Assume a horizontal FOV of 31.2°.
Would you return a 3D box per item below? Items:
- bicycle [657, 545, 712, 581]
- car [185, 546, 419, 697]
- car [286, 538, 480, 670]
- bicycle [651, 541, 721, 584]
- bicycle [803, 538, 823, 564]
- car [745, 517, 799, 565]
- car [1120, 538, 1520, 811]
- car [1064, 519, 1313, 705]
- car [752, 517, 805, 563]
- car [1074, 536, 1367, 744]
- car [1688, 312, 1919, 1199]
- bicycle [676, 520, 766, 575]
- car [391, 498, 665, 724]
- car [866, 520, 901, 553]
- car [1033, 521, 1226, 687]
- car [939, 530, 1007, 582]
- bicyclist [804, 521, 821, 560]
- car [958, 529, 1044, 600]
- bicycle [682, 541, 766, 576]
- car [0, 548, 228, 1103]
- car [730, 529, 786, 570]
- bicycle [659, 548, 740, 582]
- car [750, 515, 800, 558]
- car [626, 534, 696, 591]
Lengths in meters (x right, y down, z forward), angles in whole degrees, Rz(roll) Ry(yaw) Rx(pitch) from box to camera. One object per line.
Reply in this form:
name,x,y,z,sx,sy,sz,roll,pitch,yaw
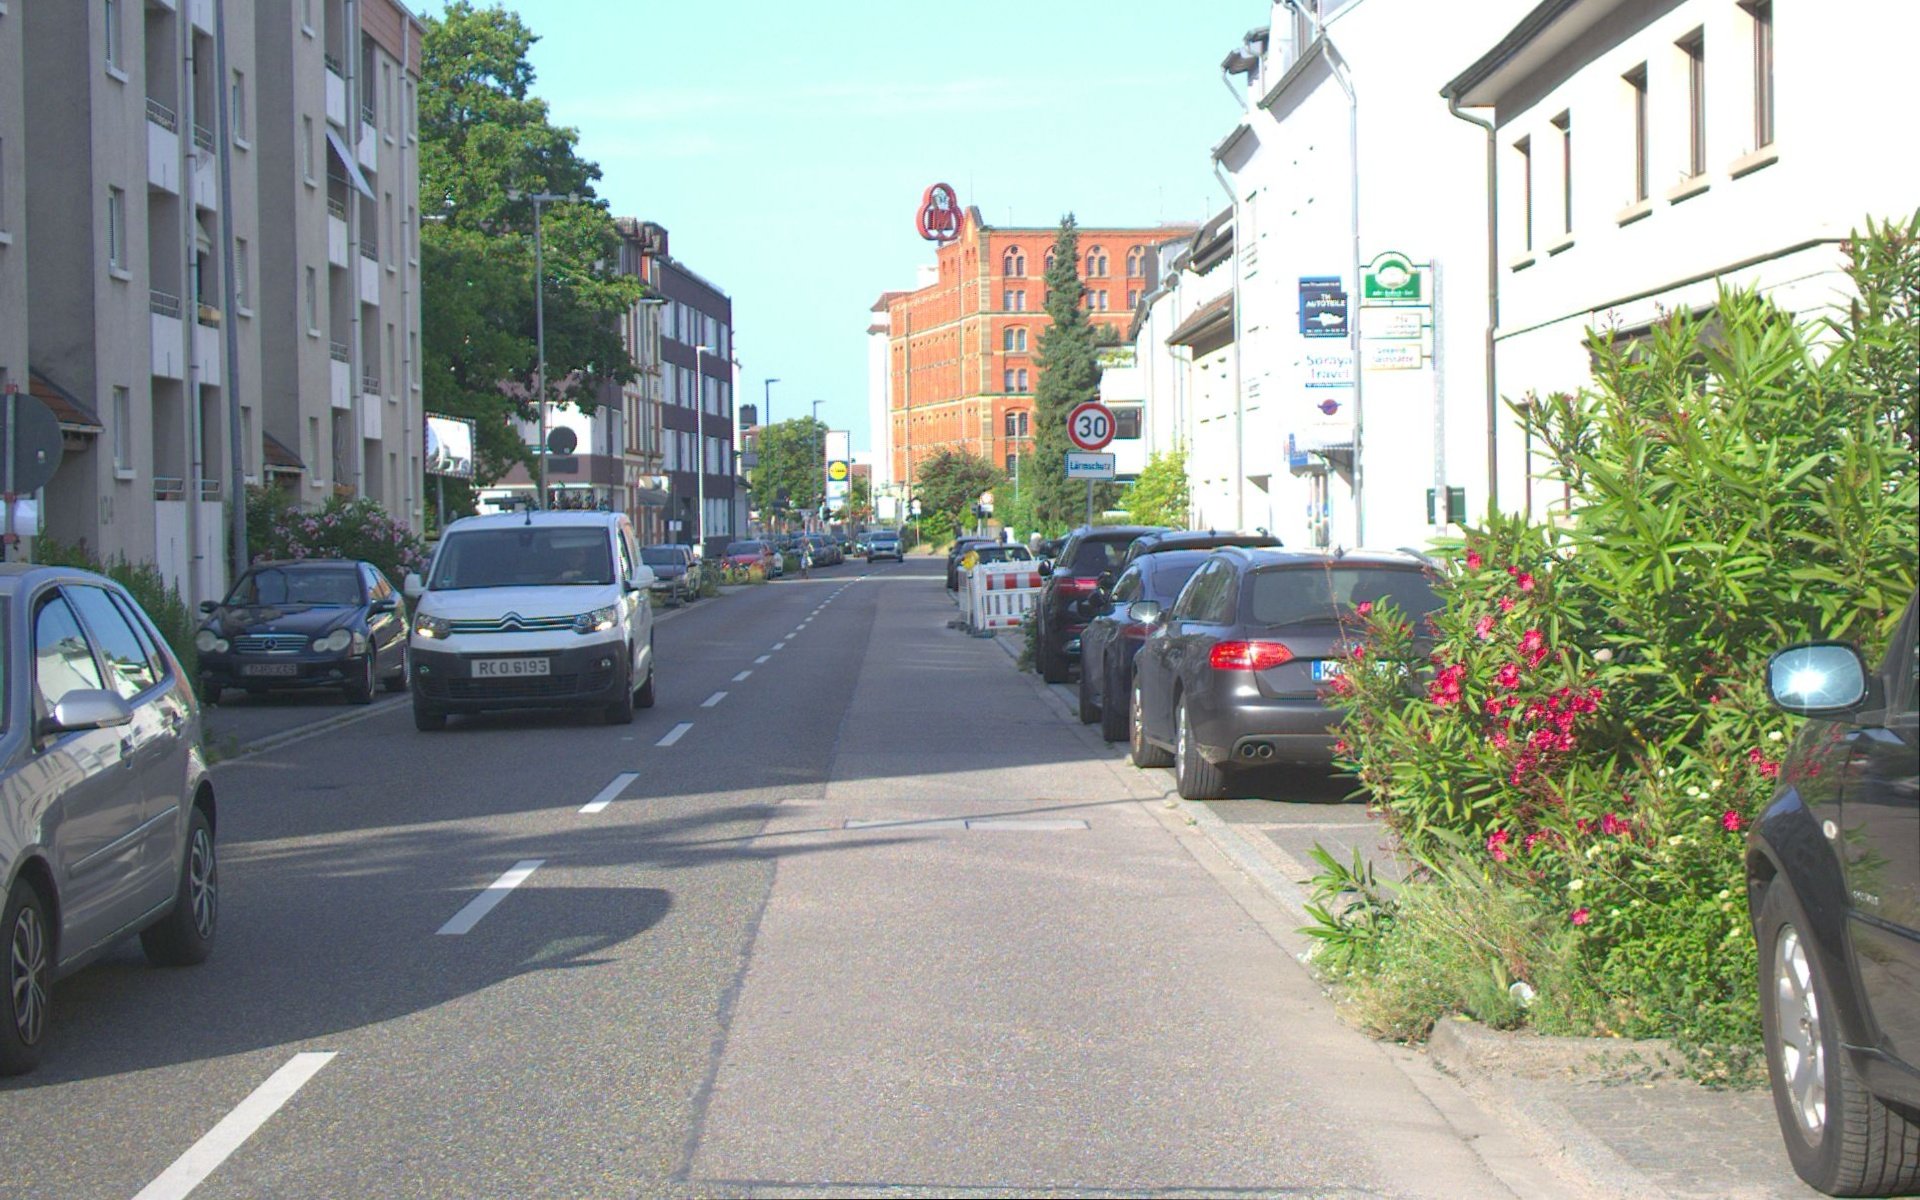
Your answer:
bicycle,-8.105,-1.098,101.233,1.584,1.037,0.708,-1,1,-6
car,-6.547,0.172,34.568,1.686,1.401,4.084,0,1,-2
car,-7.176,0.014,43.095,1.727,1.550,3.965,0,1,1
bicycle,-7.945,-1.080,99.675,2.000,1.213,0.708,-1,1,-6
bicycle,-5.493,-1.824,128.485,0.608,0.939,1.811,-1,1,1
car,-7.738,-2.439,142.075,1.993,1.905,3.689,-1,1,0
car,2.044,0.361,20.742,1.779,1.415,4.497,-1,1,-2
car,2.043,0.057,31.873,1.829,1.554,4.318,-1,1,-2
car,-7.711,-2.550,146.152,1.993,1.901,4.000,-1,1,0
car,1.915,0.241,26.566,1.830,1.415,4.609,-1,1,-1
car,2.789,0.374,6.041,2.075,1.849,4.610,-2,2,1
bicycle,-8.096,-1.784,116.470,2.918,1.771,1.202,-1,1,0
car,-3.614,0.032,29.470,1.922,1.761,4.339,-1,1,-2
car,-3.962,-3.309,178.588,1.763,1.610,4.000,-1,1,-1
car,1.761,0.057,36.983,1.830,1.624,4.463,2,0,0
car,0.361,-1.301,100.865,1.859,1.467,4.000,1,1,-1
bicyclist,-5.501,-2.216,128.472,0.591,1.437,0.750,-1,1,1
car,0.895,-0.807,76.667,1.830,1.477,3.943,-1,1,0
bicycle,-8.112,-1.432,118.249,2.773,1.140,1.143,-1,1,0
car,-3.451,0.600,10.757,1.617,1.450,3.686,-1,1,-2
car,-7.396,-1.865,126.164,1.840,1.459,3.585,-1,1,0
bicycle,-7.621,-1.018,100.525,2.339,0.967,0.708,-1,1,-6
car,-8.192,-2.832,152.242,1.993,1.875,4.000,-1,1,0
car,-7.627,-0.977,87.933,1.573,1.415,3.804,0,1,-1
